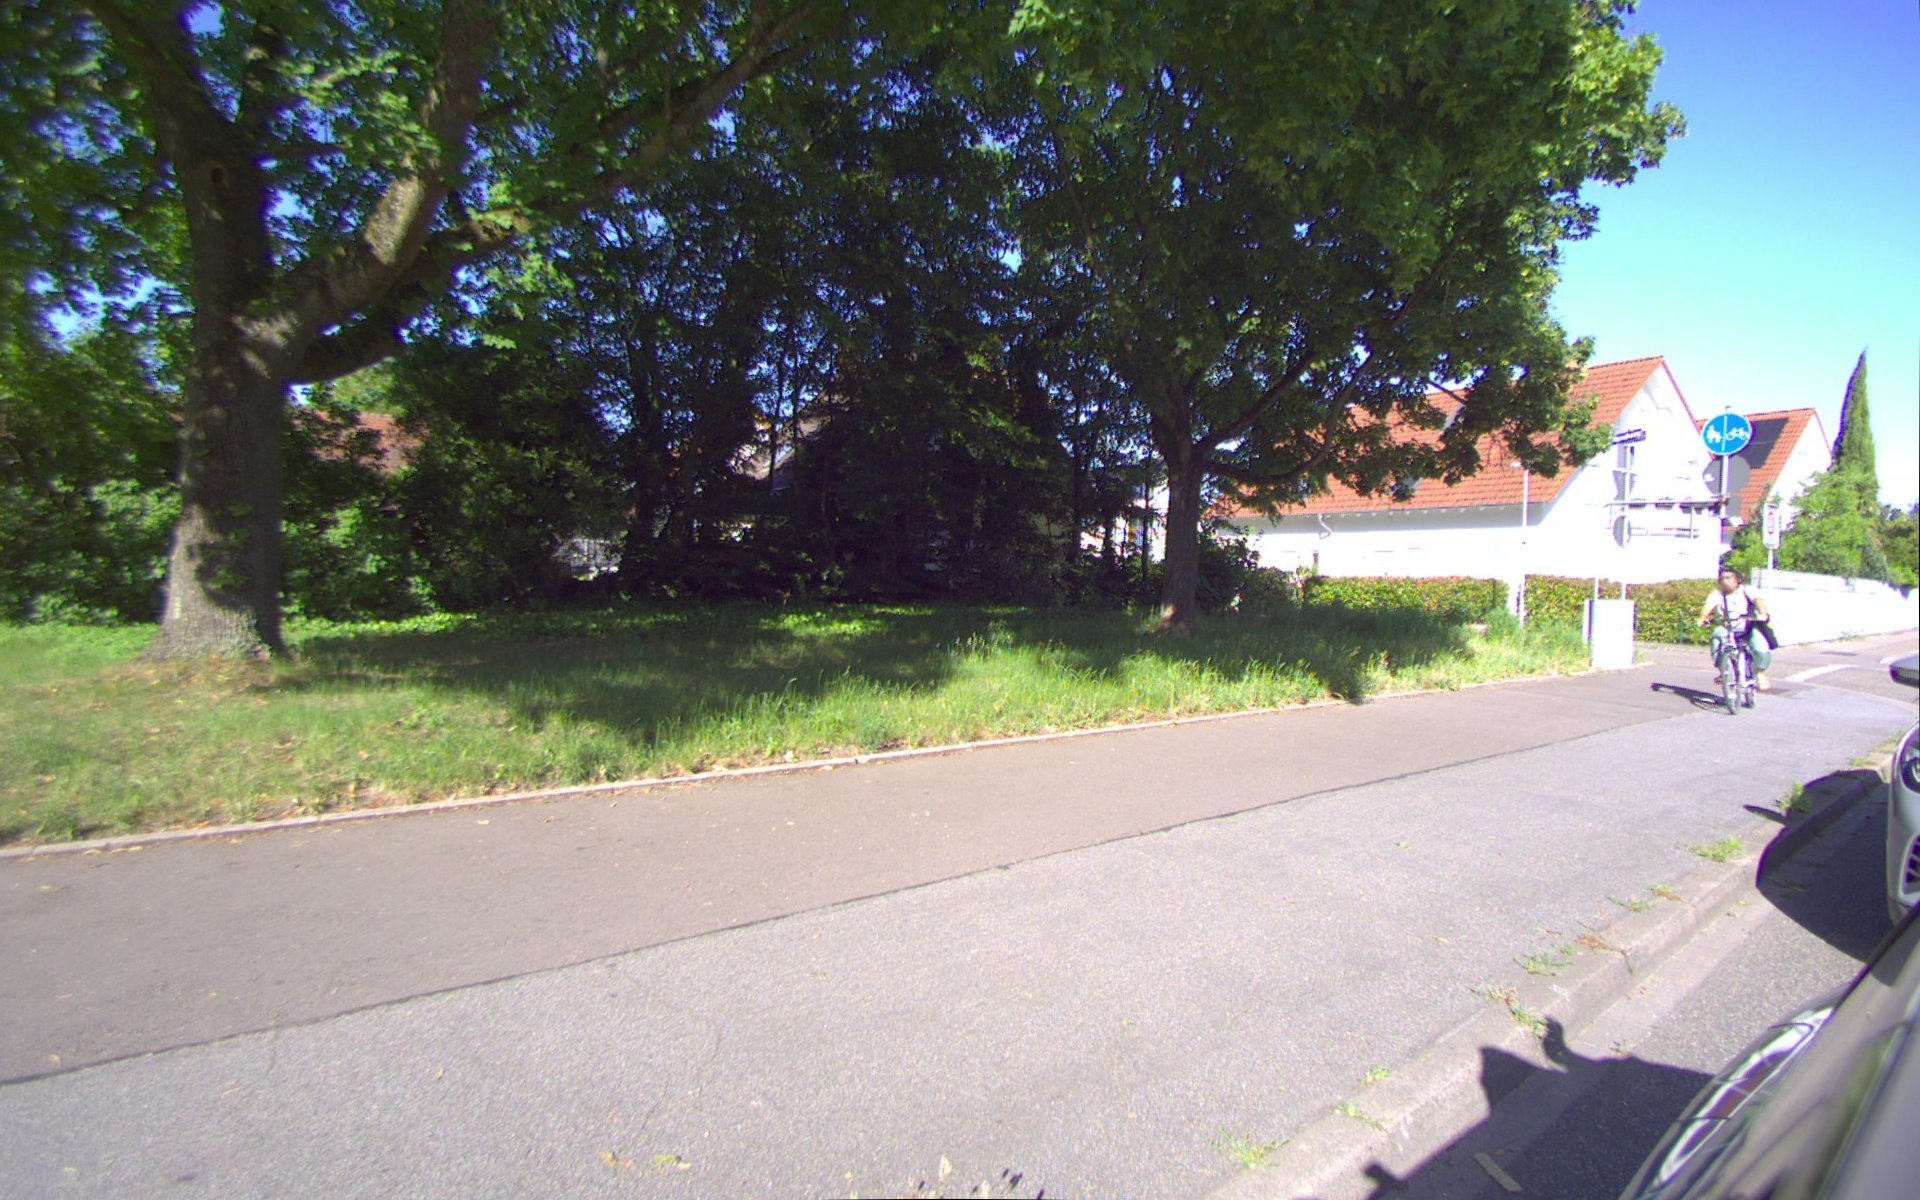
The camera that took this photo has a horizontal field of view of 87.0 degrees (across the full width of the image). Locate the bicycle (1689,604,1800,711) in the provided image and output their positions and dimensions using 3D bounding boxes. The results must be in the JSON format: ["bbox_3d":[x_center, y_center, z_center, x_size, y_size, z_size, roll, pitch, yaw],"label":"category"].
[{"bbox_3d":[9.217,0.629,11.862,1.953,1.110,0.580,0,4,-41],"label":"bicycle"}]

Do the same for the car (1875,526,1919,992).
[{"bbox_3d":[5.622,0.605,4.437,4.133,1.710,1.857,0,3,-41],"label":"car"}]

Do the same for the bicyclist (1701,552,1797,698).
[{"bbox_3d":[9.234,0.276,11.841,0.980,1.600,0.580,1,4,-41],"label":"bicyclist"}]
